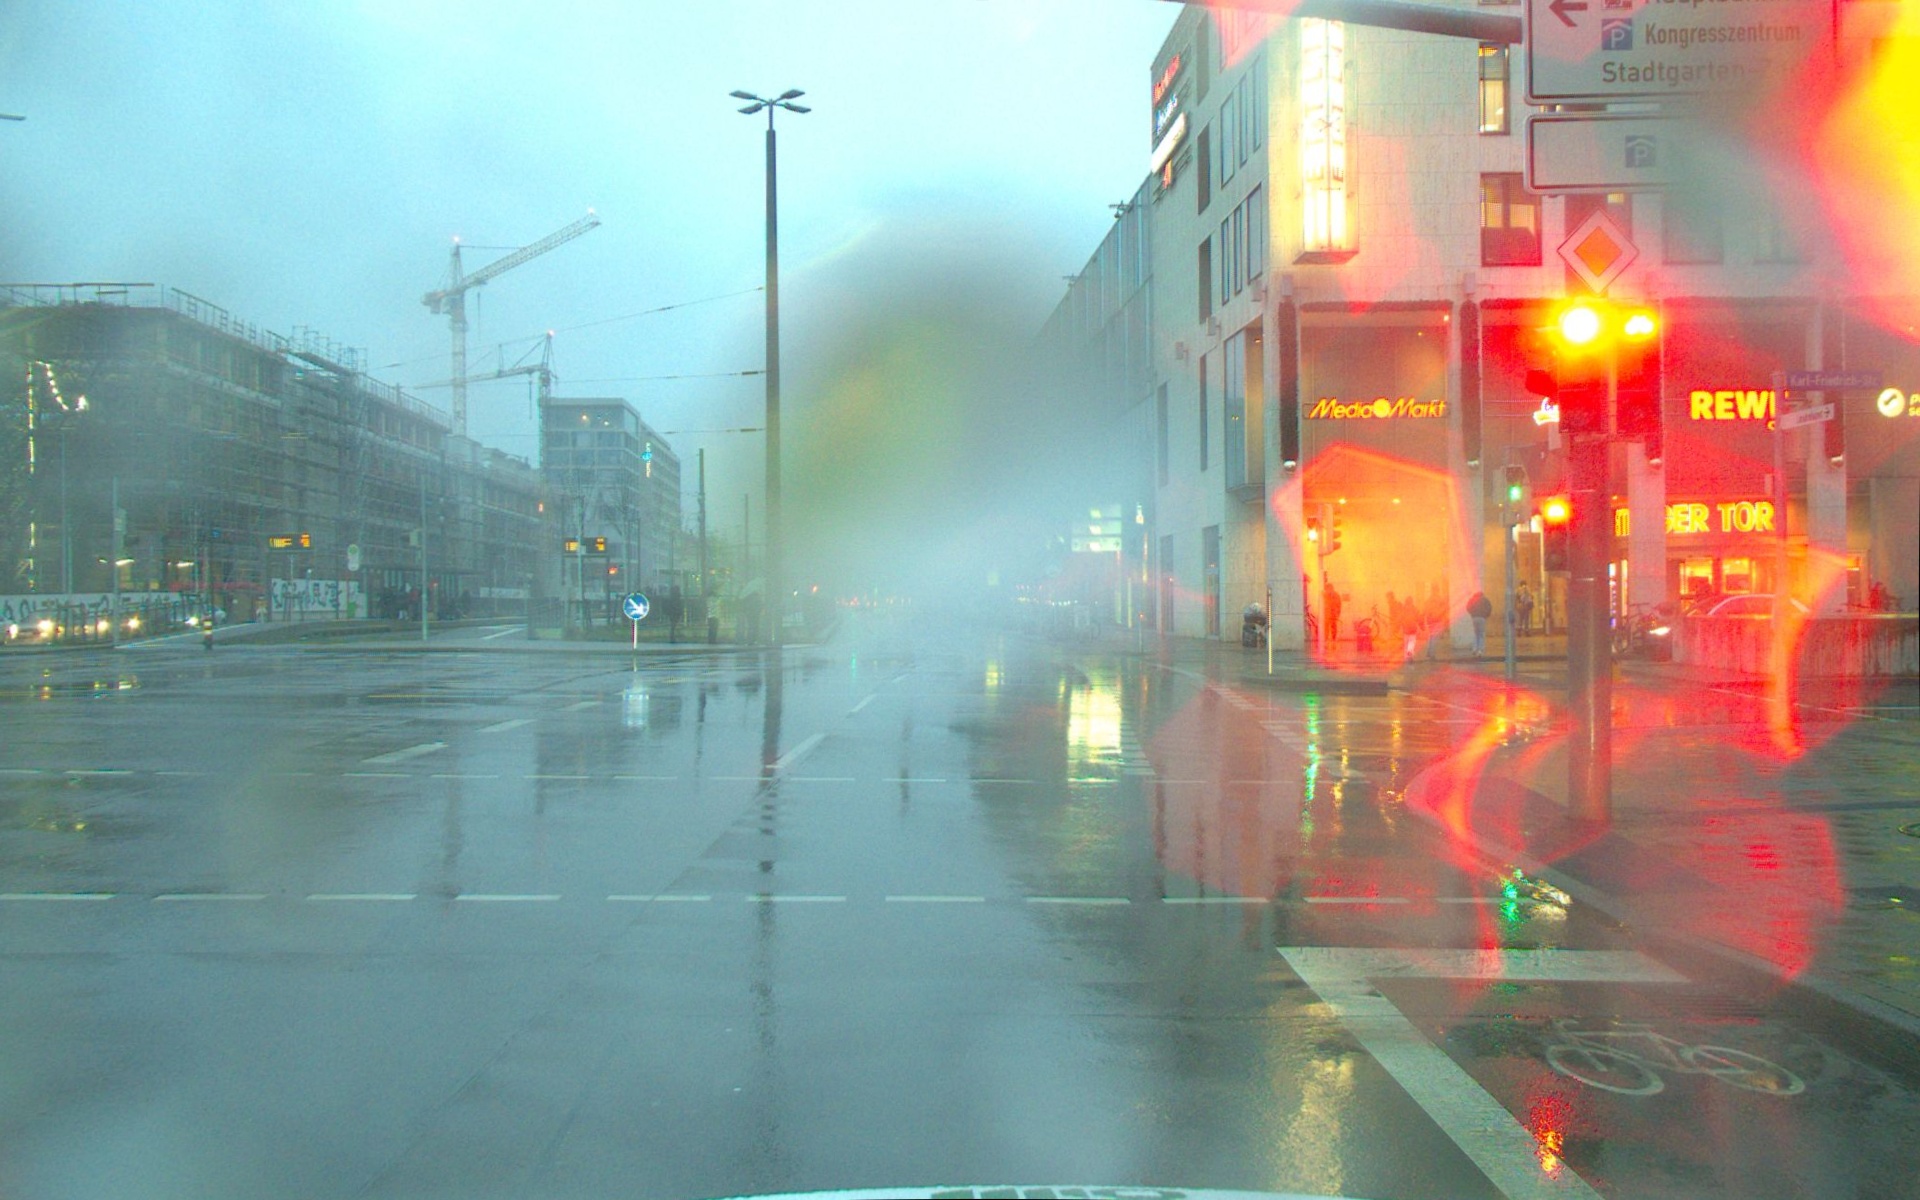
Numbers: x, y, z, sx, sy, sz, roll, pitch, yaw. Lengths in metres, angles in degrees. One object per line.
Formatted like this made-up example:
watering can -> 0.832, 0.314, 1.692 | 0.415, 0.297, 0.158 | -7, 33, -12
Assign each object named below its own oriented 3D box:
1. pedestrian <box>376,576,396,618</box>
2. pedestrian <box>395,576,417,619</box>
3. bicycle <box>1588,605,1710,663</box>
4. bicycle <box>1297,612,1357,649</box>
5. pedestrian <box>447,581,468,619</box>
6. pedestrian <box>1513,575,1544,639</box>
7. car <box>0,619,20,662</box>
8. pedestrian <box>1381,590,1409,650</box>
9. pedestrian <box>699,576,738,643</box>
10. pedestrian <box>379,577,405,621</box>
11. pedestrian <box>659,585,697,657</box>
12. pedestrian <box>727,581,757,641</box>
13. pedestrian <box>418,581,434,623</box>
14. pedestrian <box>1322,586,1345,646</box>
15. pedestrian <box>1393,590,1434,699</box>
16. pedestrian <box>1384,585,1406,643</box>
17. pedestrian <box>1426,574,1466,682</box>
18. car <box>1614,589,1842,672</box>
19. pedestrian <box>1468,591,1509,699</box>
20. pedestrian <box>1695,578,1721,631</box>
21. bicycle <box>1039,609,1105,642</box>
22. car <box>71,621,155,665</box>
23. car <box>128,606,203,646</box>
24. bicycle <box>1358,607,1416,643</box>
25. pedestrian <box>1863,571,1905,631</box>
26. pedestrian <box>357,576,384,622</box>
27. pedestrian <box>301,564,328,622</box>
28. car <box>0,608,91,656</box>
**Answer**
pedestrian -> -26.534, -0.137, 76.500 | 0.684, 1.913, 0.553 | 1, -1, -2
pedestrian -> -25.635, -0.109, 76.562 | 0.750, 1.931, 0.762 | 1, -2, -1
bicycle -> 17.202, 0.837, 41.349 | 2.659, 1.383, 0.957 | -1, -1, -4
bicycle -> 11.273, 0.927, 50.821 | 1.733, 1.088, 0.524 | 1, -1, -6
pedestrian -> -27.579, 0.008, 90.798 | 0.924, 2.049, 1.092 | 1, -1, -8
pedestrian -> 18.374, 0.220, 53.479 | 0.828, 2.049, 0.698 | -1, 0, 8
car -> -36.407, 1.515, 60.532 | 2.038, 1.557, 4.604 | -1, 0, -10
pedestrian -> 12.750, 0.581, 48.470 | 0.624, 1.739, 0.573 | -1, 0, -2
pedestrian -> -6.791, 0.268, 46.451 | 0.813, 1.863, 0.777 | 1, -1, -31
pedestrian -> -26.762, -0.032, 77.985 | 0.924, 2.049, 1.092 | 1, -1, -8
pedestrian -> -8.038, 0.597, 47.196 | 0.771, 2.049, 0.724 | 0, -1, 41
pedestrian -> -6.302, 0.319, 47.851 | 0.601, 1.715, 0.575 | 0, -1, 41
pedestrian -> -25.947, 0.080, 80.373 | 0.559, 2.002, 0.664 | 2, -1, -7
pedestrian -> 11.296, 0.483, 50.047 | 0.587, 1.775, 0.525 | 1, -1, 7
pedestrian -> 10.488, 1.014, 38.298 | 0.700, 2.484, 0.758 | 1, -1, -1
pedestrian -> 12.707, 0.414, 48.304 | 0.476, 1.692, 0.457 | -1, -1, 30
pedestrian -> 11.383, 0.647, 38.762 | 0.675, 2.484, 0.758 | 1, -1, -1
car -> 16.199, 0.638, 35.022 | 3.905, 1.646, 2.000 | 1, 0, 0
pedestrian -> 12.358, 1.049, 38.696 | 0.679, 2.491, 0.791 | 1, -1, -1
pedestrian -> 24.833, 0.144, 54.901 | 0.721, 1.748, 0.738 | -1, -1, 27
bicycle -> 4.162, 0.946, 61.668 | 2.393, 1.174, 0.674 | -1, -1, -2
car -> -38.094, 1.908, 74.470 | 1.955, 1.822, 3.995 | 1, 0, -5
car -> -38.408, 1.231, 80.020 | 1.955, 1.822, 3.995 | 1, 0, -5
bicycle -> 13.162, 0.777, 50.999 | 1.614, 1.088, 0.524 | 1, -1, -5
pedestrian -> 26.828, 0.026, 48.039 | 0.875, 1.714, 0.528 | -1, -1, -1
pedestrian -> -26.942, -0.045, 75.574 | 0.924, 2.049, 1.092 | 1, -1, -8
pedestrian -> -26.661, -0.299, 68.330 | 0.750, 2.364, 0.762 | 1, -2, -1
car -> -36.962, 1.271, 66.975 | 1.830, 1.860, 3.993 | 1, 0, -8
